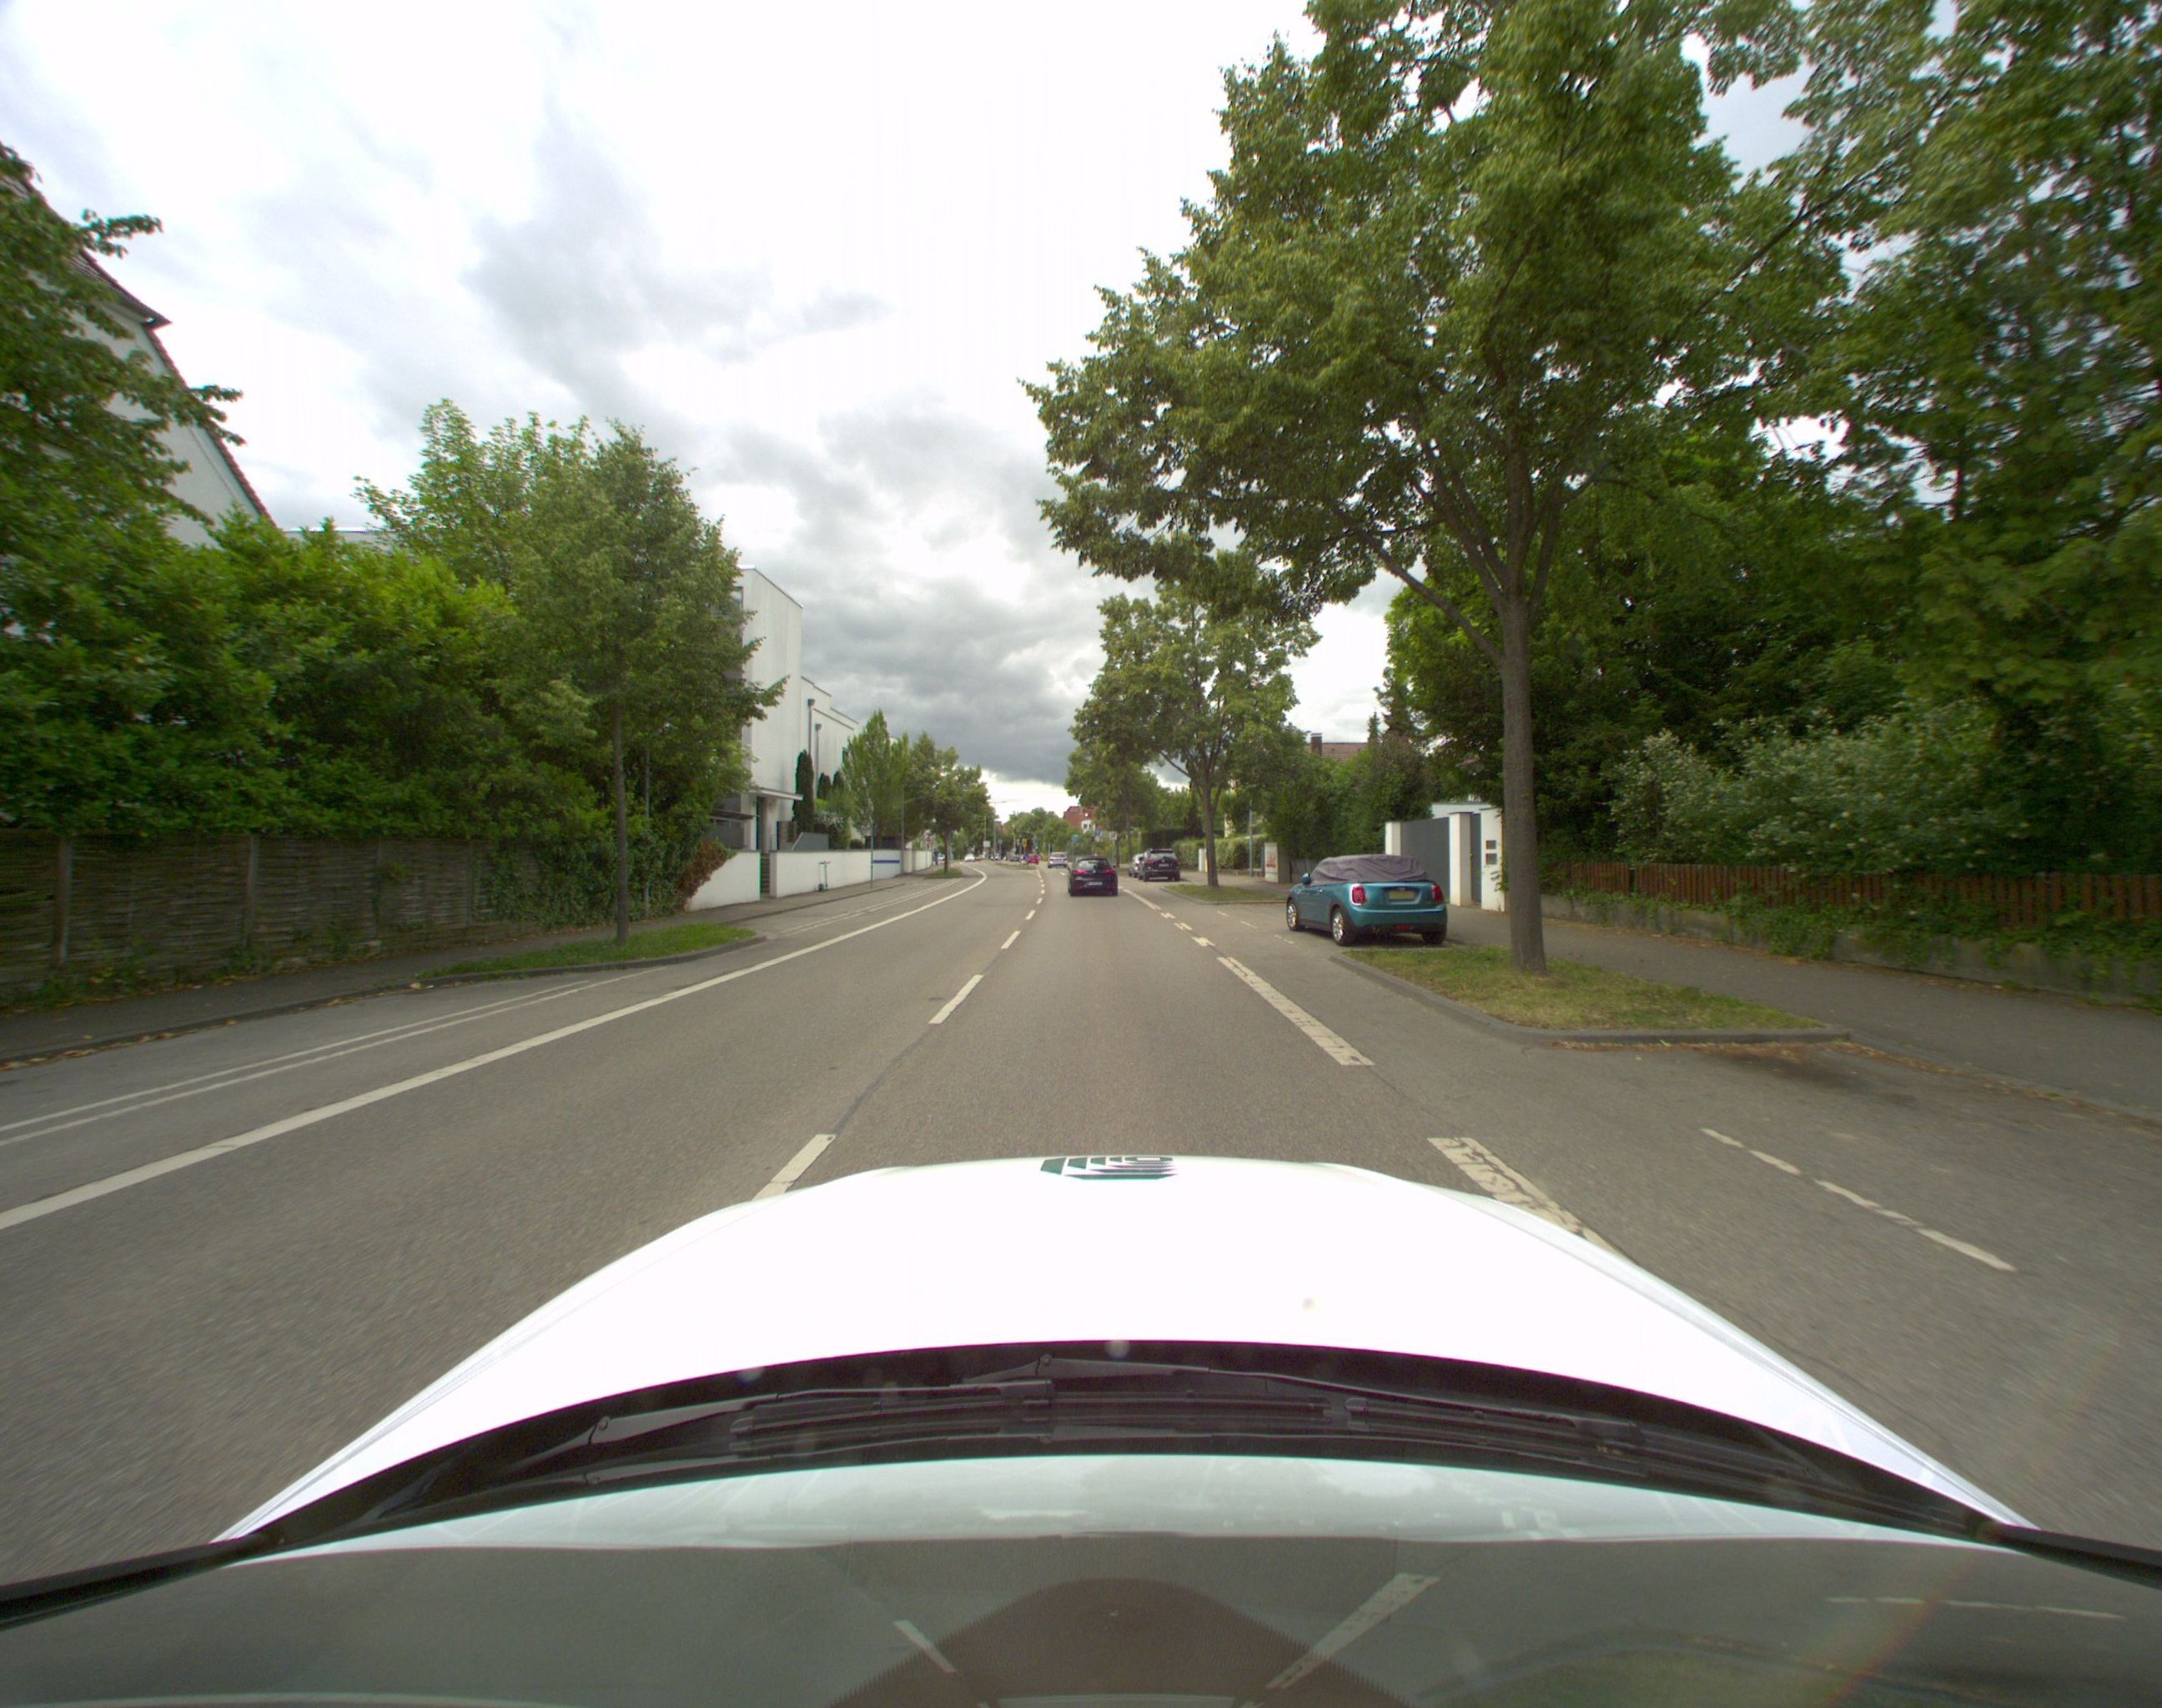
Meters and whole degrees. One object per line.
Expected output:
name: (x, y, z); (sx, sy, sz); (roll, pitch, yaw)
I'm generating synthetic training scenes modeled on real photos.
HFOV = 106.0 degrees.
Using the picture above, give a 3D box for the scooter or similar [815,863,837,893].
scooter or similar: (-10.156, 0.936, 32.464); (0.500, 1.154, 1.300); (-1, 0, -2)

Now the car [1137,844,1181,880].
car: (3.967, 0.410, 41.946); (1.784, 1.772, 3.979); (-1, 0, -2)

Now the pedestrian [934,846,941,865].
pedestrian: (-15.995, 0.176, 90.677); (0.751, 2.054, 0.723); (0, -1, -6)

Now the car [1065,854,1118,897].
car: (0.343, 0.749, 30.366); (1.779, 1.449, 3.555); (-2, 0, -2)

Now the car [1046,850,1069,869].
car: (-2.246, 0.473, 77.967); (1.990, 1.557, 3.996); (-3, 2, -4)

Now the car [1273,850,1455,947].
car: (4.746, 0.667, 14.314); (1.678, 1.432, 4.041); (-1, 0, -2)

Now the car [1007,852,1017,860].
car: (-15.970, 0.419, 187.781); (1.967, 1.675, 3.876); (-1, 0, 0)

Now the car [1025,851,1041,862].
car: (-6.850, 0.328, 115.460); (1.991, 1.530, 3.991); (-1, 0, -6)

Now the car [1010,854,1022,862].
car: (-11.854, 0.750, 149.769); (1.988, 1.508, 3.997); (0, -1, -2)

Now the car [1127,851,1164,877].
car: (3.771, 0.579, 48.085); (1.682, 1.449, 3.575); (-1, 0, -3)
